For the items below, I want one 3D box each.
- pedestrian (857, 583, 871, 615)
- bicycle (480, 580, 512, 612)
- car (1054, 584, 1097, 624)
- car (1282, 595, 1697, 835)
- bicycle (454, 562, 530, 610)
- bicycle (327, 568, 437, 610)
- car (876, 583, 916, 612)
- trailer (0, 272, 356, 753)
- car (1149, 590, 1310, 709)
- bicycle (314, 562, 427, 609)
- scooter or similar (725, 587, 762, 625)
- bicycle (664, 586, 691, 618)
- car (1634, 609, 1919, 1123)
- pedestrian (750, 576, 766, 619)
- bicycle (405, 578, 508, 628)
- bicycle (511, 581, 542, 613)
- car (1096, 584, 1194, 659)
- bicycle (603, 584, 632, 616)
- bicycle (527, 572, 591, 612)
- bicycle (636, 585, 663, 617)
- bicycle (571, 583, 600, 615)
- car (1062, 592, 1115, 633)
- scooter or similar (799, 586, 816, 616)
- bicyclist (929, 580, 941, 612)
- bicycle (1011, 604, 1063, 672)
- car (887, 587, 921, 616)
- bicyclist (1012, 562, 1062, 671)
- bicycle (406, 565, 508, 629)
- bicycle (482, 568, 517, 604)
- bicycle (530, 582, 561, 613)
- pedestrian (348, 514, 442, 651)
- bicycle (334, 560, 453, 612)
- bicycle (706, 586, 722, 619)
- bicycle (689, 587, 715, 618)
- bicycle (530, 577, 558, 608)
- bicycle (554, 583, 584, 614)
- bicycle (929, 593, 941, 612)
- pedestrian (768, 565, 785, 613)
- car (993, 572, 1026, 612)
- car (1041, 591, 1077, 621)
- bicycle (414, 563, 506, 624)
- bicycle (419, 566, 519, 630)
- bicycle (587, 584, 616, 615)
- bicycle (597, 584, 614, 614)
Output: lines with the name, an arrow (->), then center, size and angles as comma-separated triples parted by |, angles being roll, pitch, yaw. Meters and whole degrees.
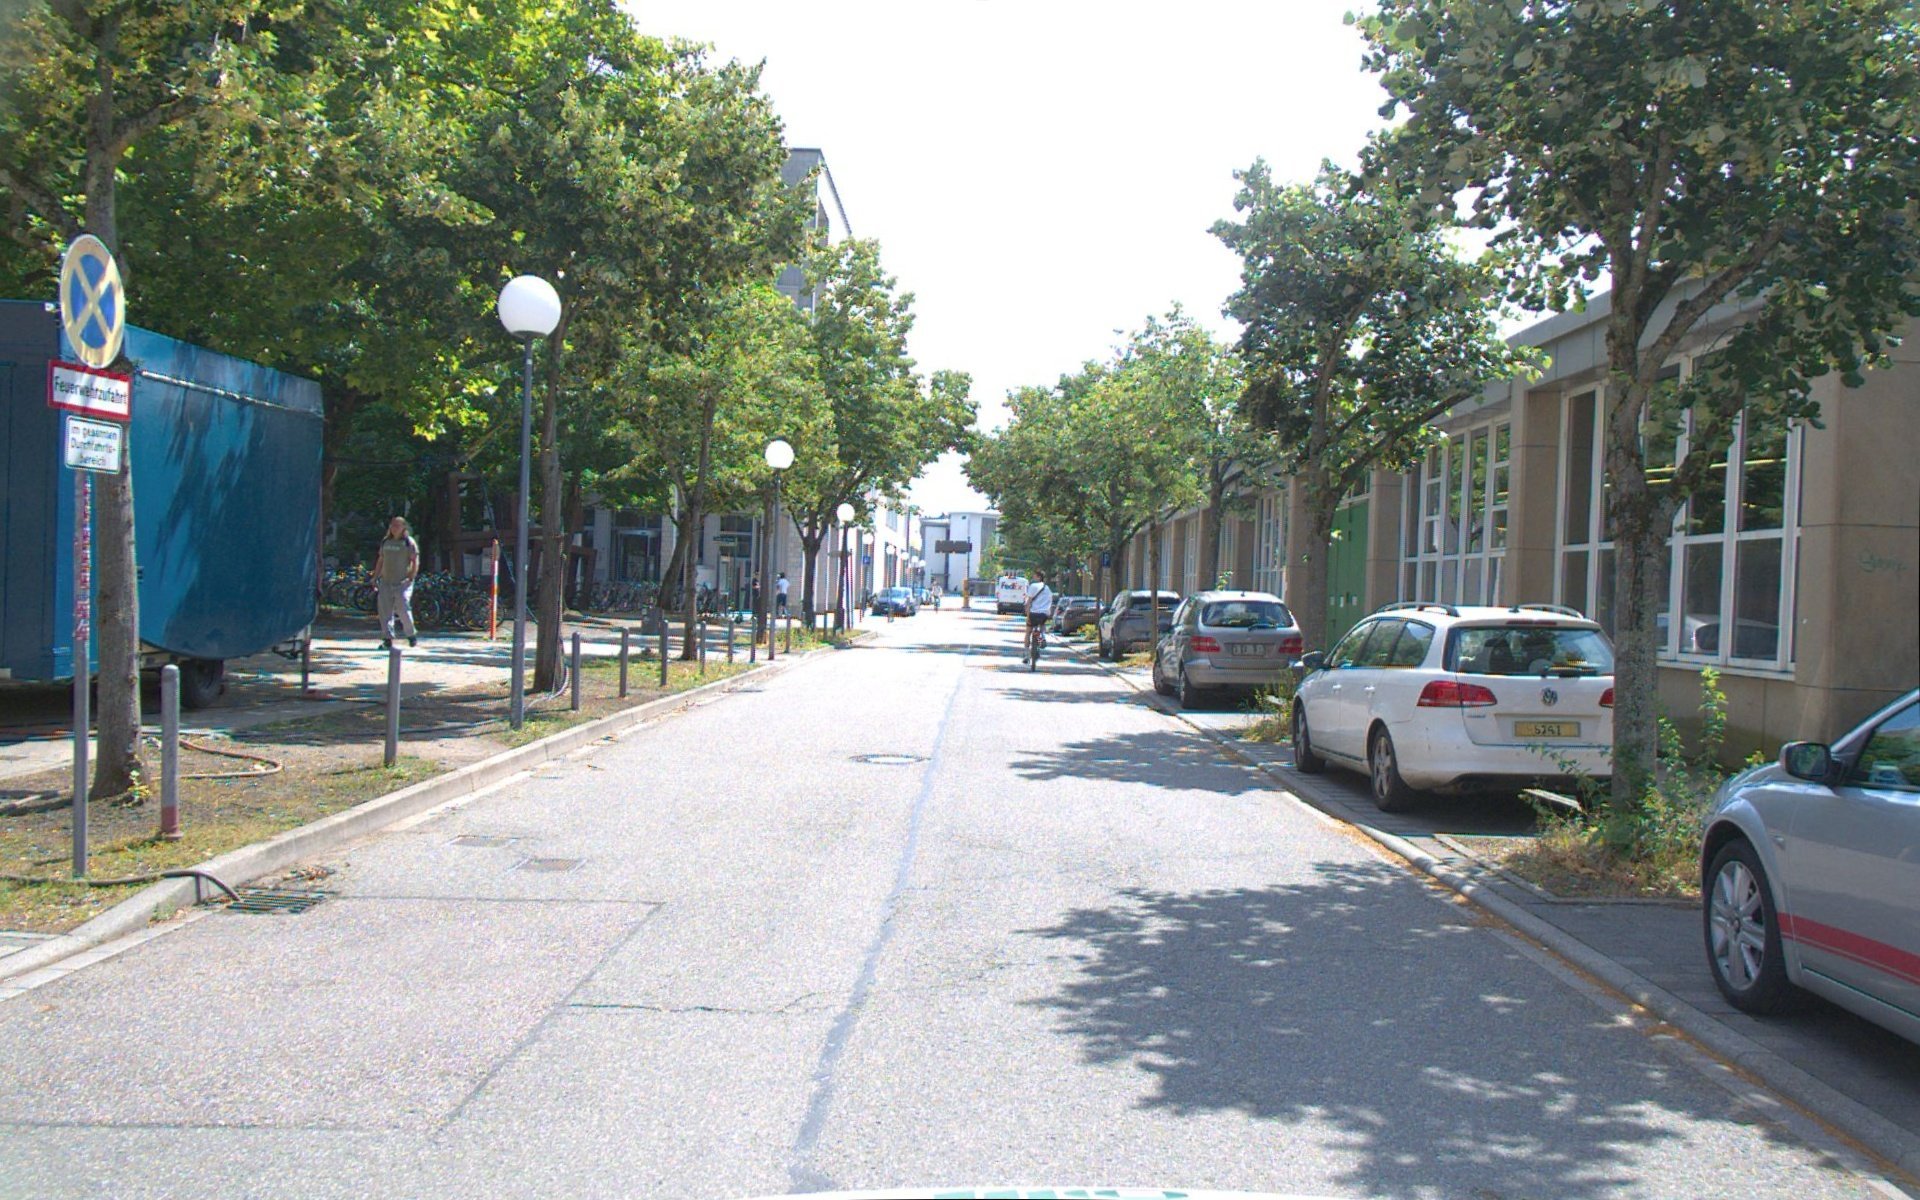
pedestrian -> -5.375, -0.076, 92.311 | 0.638, 1.731, 0.887 | 3, 0, -10
bicycle -> -17.084, -0.148, 60.923 | 0.540, 1.105, 1.973 | 4, 0, 1
car -> 4.805, 0.171, 69.185 | 1.583, 1.565, 3.780 | 2, 0, 1
car -> 3.866, 0.732, 12.974 | 1.690, 1.493, 4.671 | 1, 0, -1
bicycle -> -15.281, -0.450, 54.065 | 2.261, 1.475, 0.600 | 2, 0, -33
bicycle -> -15.858, -0.300, 45.408 | 2.710, 1.020, 0.869 | 3, 0, -42
car -> -3.350, -0.117, 87.196 | 1.729, 1.452, 4.236 | 2, 0, 3
trailer -> -7.437, -0.630, 13.272 | 2.641, 3.079, 6.267 | 3, 0, 1
car -> 3.916, 0.660, 24.646 | 1.669, 1.601, 4.140 | 1, 0, -1
bicycle -> -16.572, -0.401, 46.584 | 2.858, 1.198, 0.869 | 3, 0, -42
scooter or similar -> -7.151, 0.194, 54.656 | 0.333, 1.196, 1.323 | 3, 0, 36
bicycle -> -10.401, 0.061, 60.948 | 0.540, 1.105, 1.973 | 4, 0, 1
car -> 3.557, 0.798, 4.652 | 1.613, 1.414, 3.988 | 1, 1, -1
pedestrian -> -8.439, -0.105, 69.127 | 0.436, 1.806, 0.446 | 2, 0, -29
bicycle -> -11.489, 0.067, 37.760 | 2.123, 1.026, 0.671 | 3, 0, -29
bicycle -> -15.921, -0.116, 60.777 | 0.540, 1.105, 1.973 | 4, 0, 1
car -> 4.413, 0.517, 40.005 | 1.785, 1.693, 4.583 | 1, -1, -1
bicycle -> -12.617, -0.009, 60.936 | 0.540, 1.105, 1.973 | 4, 0, 1
bicycle -> -13.381, -0.259, 55.256 | 1.994, 1.275, 0.581 | 1, 1, -32
bicycle -> -11.486, 0.035, 61.260 | 0.540, 1.105, 1.973 | 4, 0, 1
bicycle -> -13.767, -0.047, 60.858 | 0.540, 1.105, 1.973 | 4, 0, 1
car -> 4.929, 0.463, 63.806 | 1.744, 1.502, 4.462 | 1, 0, 1
scooter or similar -> -6.507, 0.039, 70.606 | 0.445, 1.245, 1.550 | 2, 0, 5
bicyclist -> -1.591, -0.265, 105.458 | 0.697, 2.049, 1.018 | 1, 0, -1
bicycle -> 1.486, 0.712, 32.366 | 0.864, 1.220, 2.749 | 2, 0, 0
car -> -3.124, 0.063, 92.426 | 1.597, 1.510, 4.178 | 2, 0, 1
bicyclist -> 1.500, 0.315, 32.264 | 0.855, 2.049, 0.850 | 2, 0, 0
bicycle -> -10.772, -0.070, 35.471 | 2.021, 1.256, 0.805 | 3, 0, -17
bicycle -> -16.850, -0.516, 60.519 | 0.514, 1.275, 2.382 | 2, 0, 2
bicycle -> -15.234, -0.094, 60.781 | 0.540, 1.105, 1.973 | 4, 0, 1
pedestrian -> -8.595, -0.264, 25.201 | 0.898, 1.988, 0.893 | 4, 0, 11
bicycle -> -15.173, -0.370, 44.378 | 2.883, 1.241, 0.869 | 3, 0, -42
bicycle -> -8.111, 0.076, 54.514 | 0.375, 1.043, 1.810 | 2, 0, -11
bicycle -> -9.472, 0.084, 60.743 | 0.540, 1.105, 1.973 | 4, 0, 1
bicycle -> -14.682, -0.251, 58.400 | 0.465, 1.050, 1.850 | 2, 0, 2
bicycle -> -14.404, -0.063, 60.993 | 0.540, 1.105, 1.973 | 4, 0, 1
bicycle -> -1.596, 0.150, 105.506 | 0.671, 1.149, 1.888 | 2, 0, -1
pedestrian -> -7.574, -0.460, 68.287 | 0.408, 1.975, 0.657 | 3, 0, -28
car -> 3.396, -0.542, 113.696 | 2.041, 2.583, 4.316 | 3, 0, 1
car -> 5.458, 0.344, 91.812 | 1.820, 1.601, 4.001 | 1, 0, 1
bicycle -> -10.275, -0.136, 34.001 | 1.745, 1.151, 0.456 | 3, 0, -17
bicycle -> -10.794, -0.044, 36.408 | 2.021, 1.256, 0.805 | 4, 0, -17
bicycle -> -13.171, -0.028, 60.877 | 0.540, 1.105, 1.973 | 4, 0, 1
bicycle -> -12.072, -0.055, 56.393 | 0.466, 0.982, 1.653 | 2, 0, -10
